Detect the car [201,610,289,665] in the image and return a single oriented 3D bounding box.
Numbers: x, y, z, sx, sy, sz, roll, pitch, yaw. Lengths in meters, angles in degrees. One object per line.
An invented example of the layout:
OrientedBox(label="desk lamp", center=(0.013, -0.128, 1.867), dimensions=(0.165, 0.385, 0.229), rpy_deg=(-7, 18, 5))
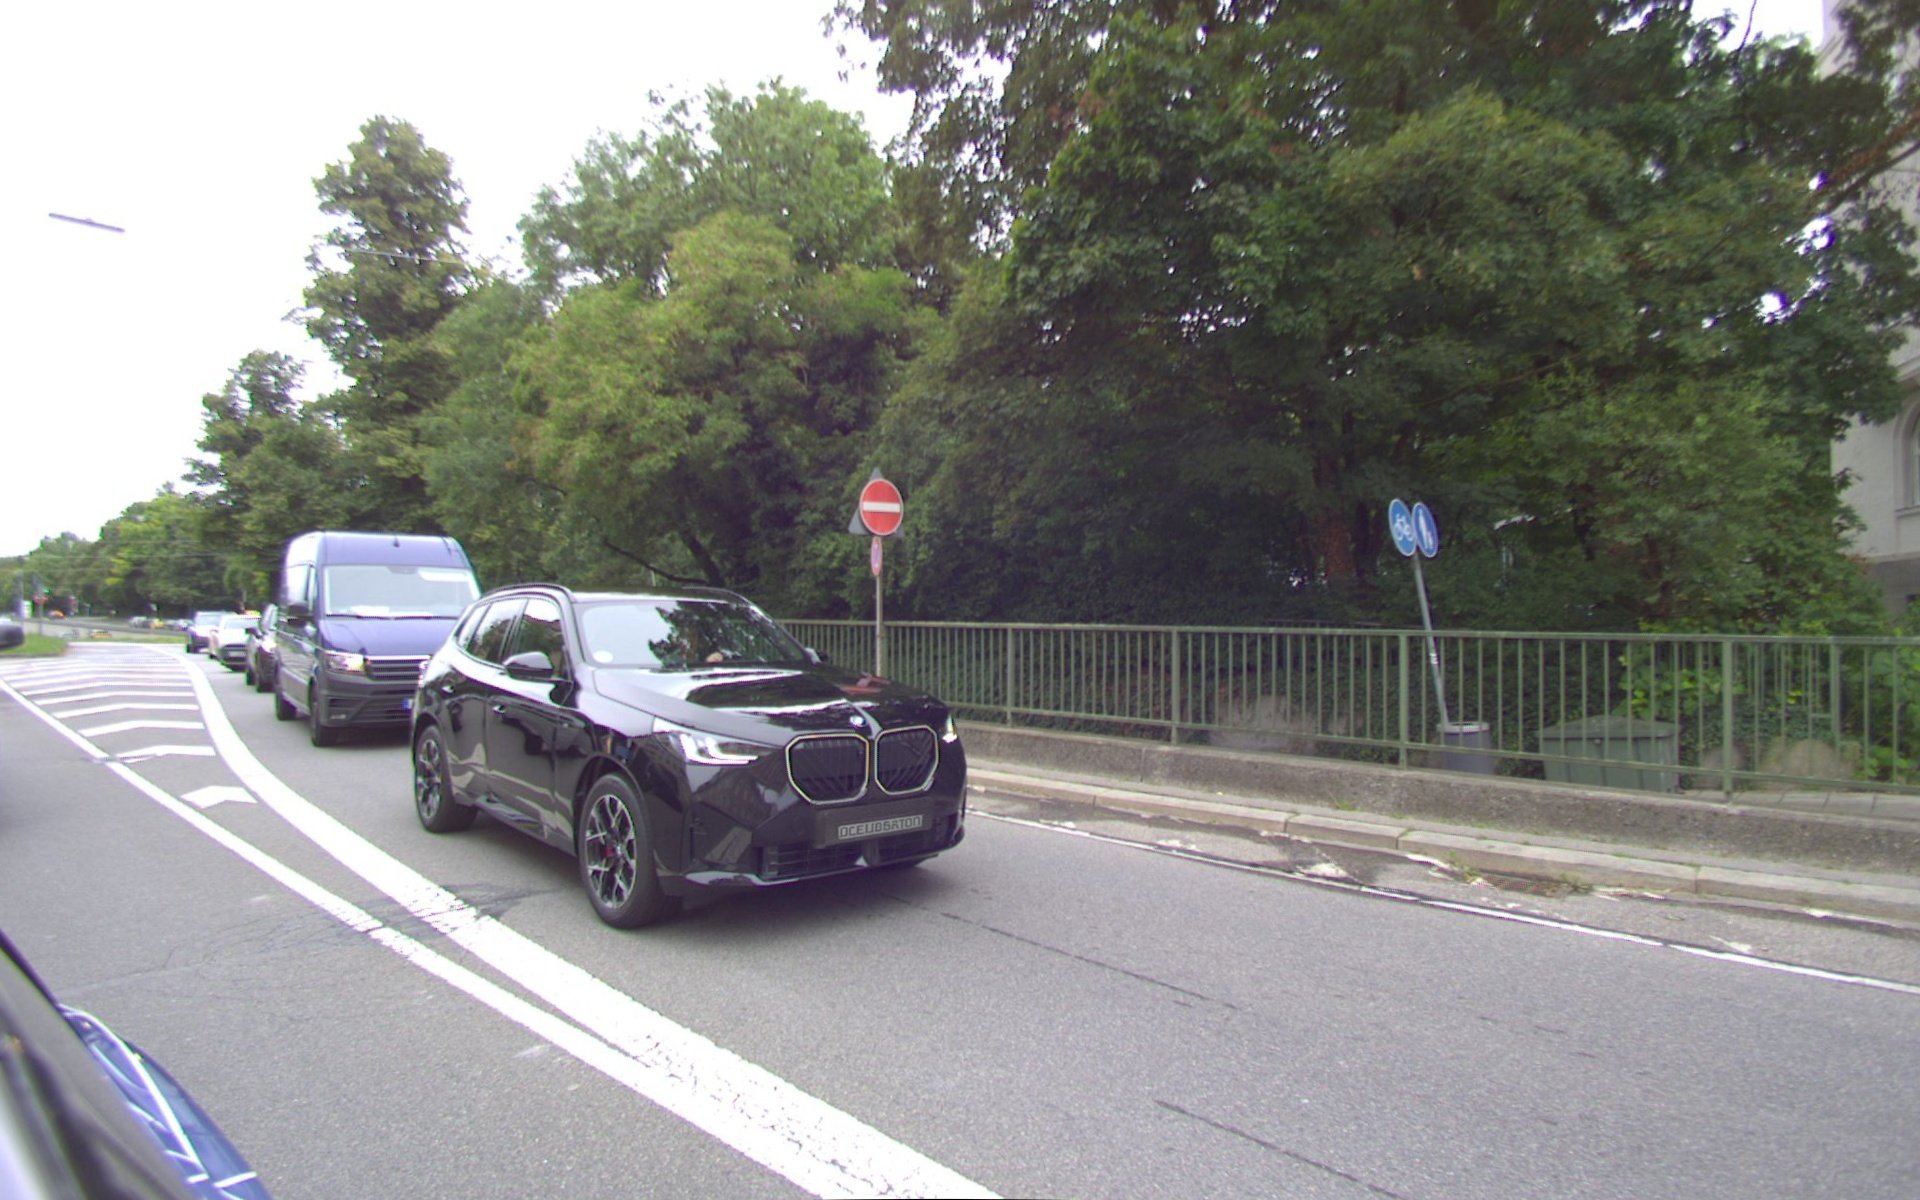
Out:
OrientedBox(label="car", center=(-23.572, 1.197, 33.276), dimensions=(2.072, 1.602, 5.579), rpy_deg=(-1, 0, -38))

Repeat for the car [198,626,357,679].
OrientedBox(label="car", center=(-17.689, 1.321, 26.424), dimensions=(1.478, 1.223, 3.604), rpy_deg=(-1, -1, 6))

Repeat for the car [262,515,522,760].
OrientedBox(label="car", center=(-7.760, 0.406, 13.418), dimensions=(1.975, 2.510, 6.244), rpy_deg=(0, -1, -39))

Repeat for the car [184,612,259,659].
OrientedBox(label="car", center=(-30.144, 1.411, 41.252), dimensions=(2.280, 1.742, 5.225), rpy_deg=(-1, 0, -38))

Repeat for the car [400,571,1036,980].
OrientedBox(label="car", center=(-1.756, 0.720, 6.148), dimensions=(1.893, 1.577, 4.298), rpy_deg=(2, -2, -43))

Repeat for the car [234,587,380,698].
OrientedBox(label="car", center=(-13.636, 0.809, 20.941), dimensions=(1.976, 1.951, 5.816), rpy_deg=(-1, 0, -38))
